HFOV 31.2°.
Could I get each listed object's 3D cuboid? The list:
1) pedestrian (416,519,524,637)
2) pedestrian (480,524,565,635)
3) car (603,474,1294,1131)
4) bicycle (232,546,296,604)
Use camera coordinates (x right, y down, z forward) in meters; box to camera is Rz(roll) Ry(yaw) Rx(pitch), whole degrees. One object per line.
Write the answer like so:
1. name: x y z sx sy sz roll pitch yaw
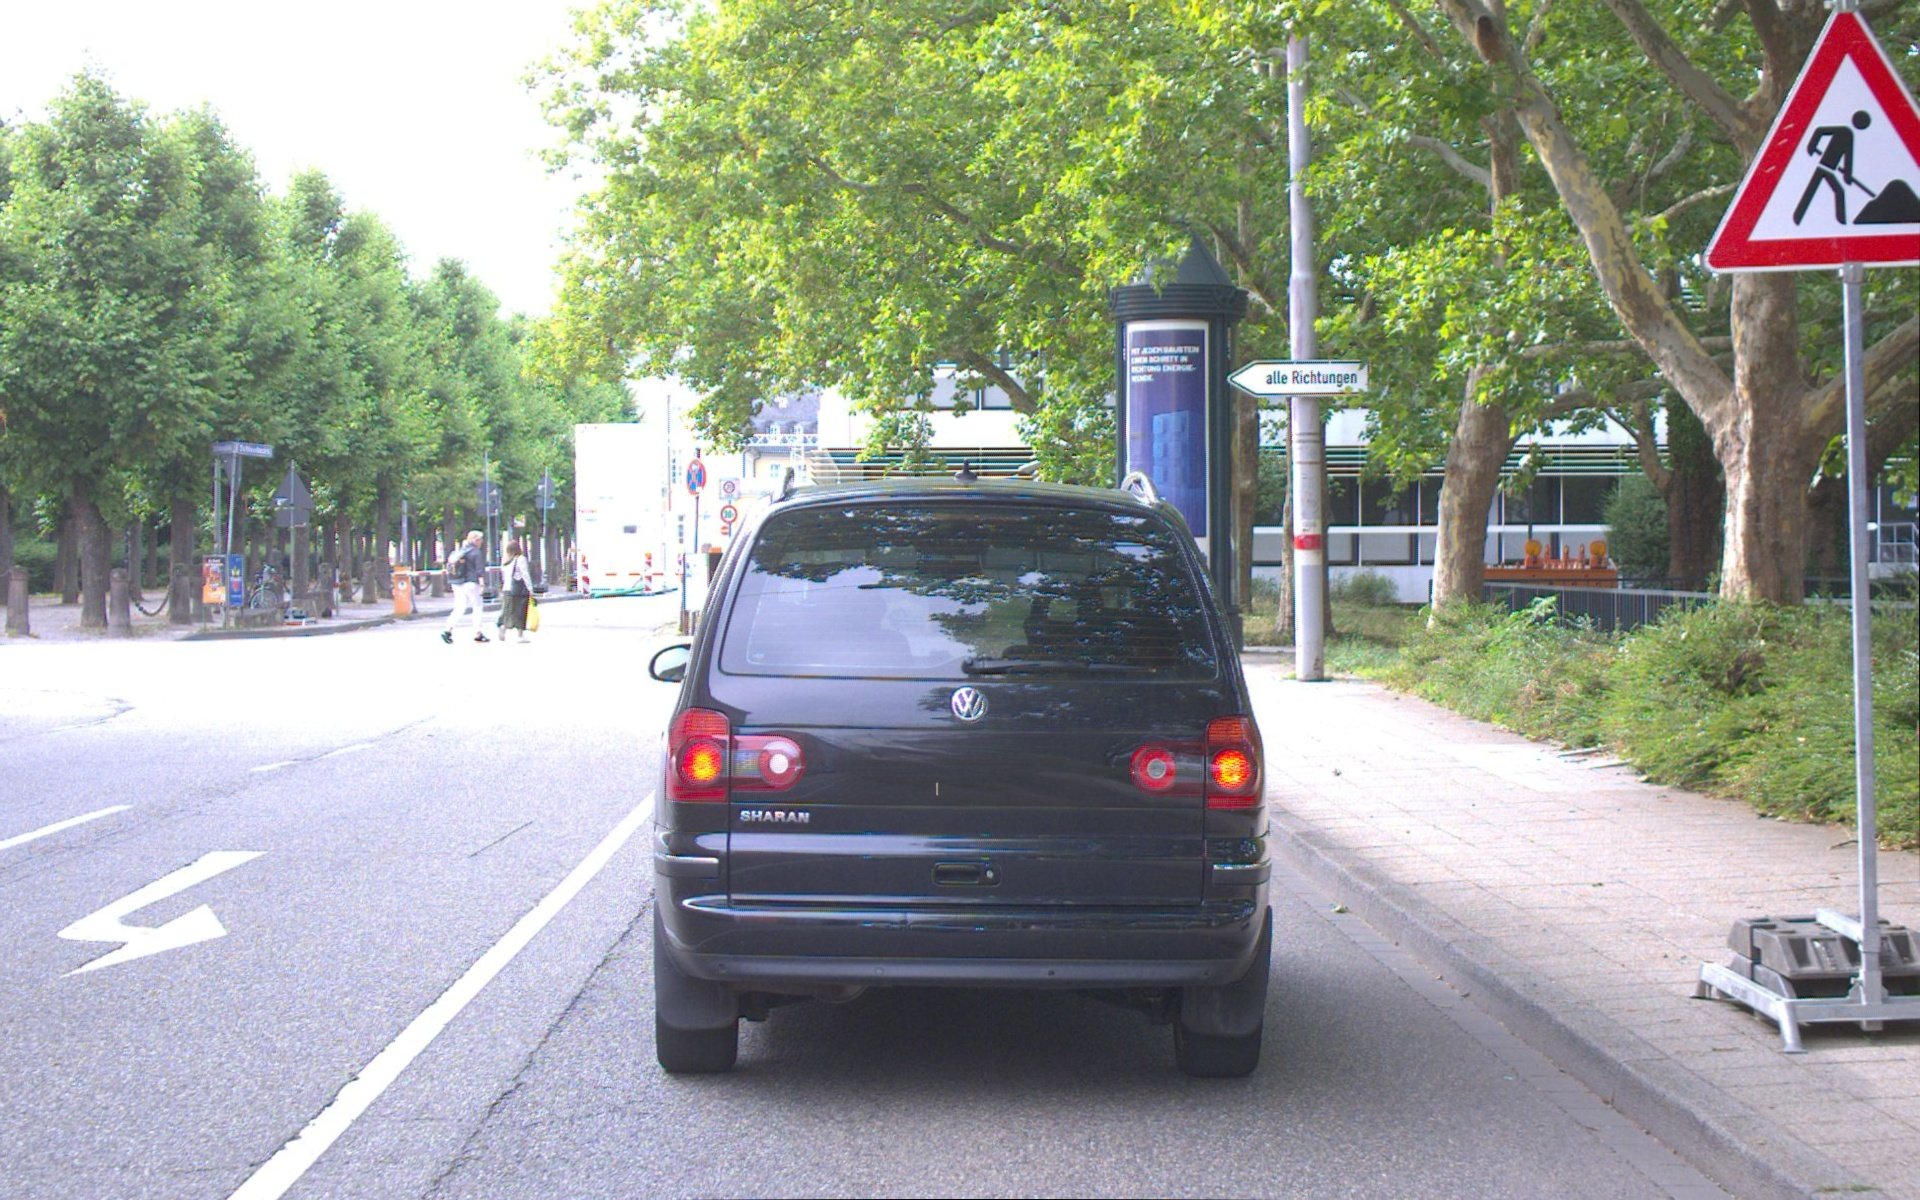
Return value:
1. pedestrian: -7.415 -0.331 52.033 0.962 1.735 1.253 2 1 39
2. pedestrian: -6.585 -0.316 51.722 0.898 1.635 0.850 2 1 38
3. car: -0.080 0.483 11.022 1.793 1.702 4.131 0 1 -1
4. bicycle: -14.174 -0.524 69.973 0.952 1.106 2.580 1 1 -18
